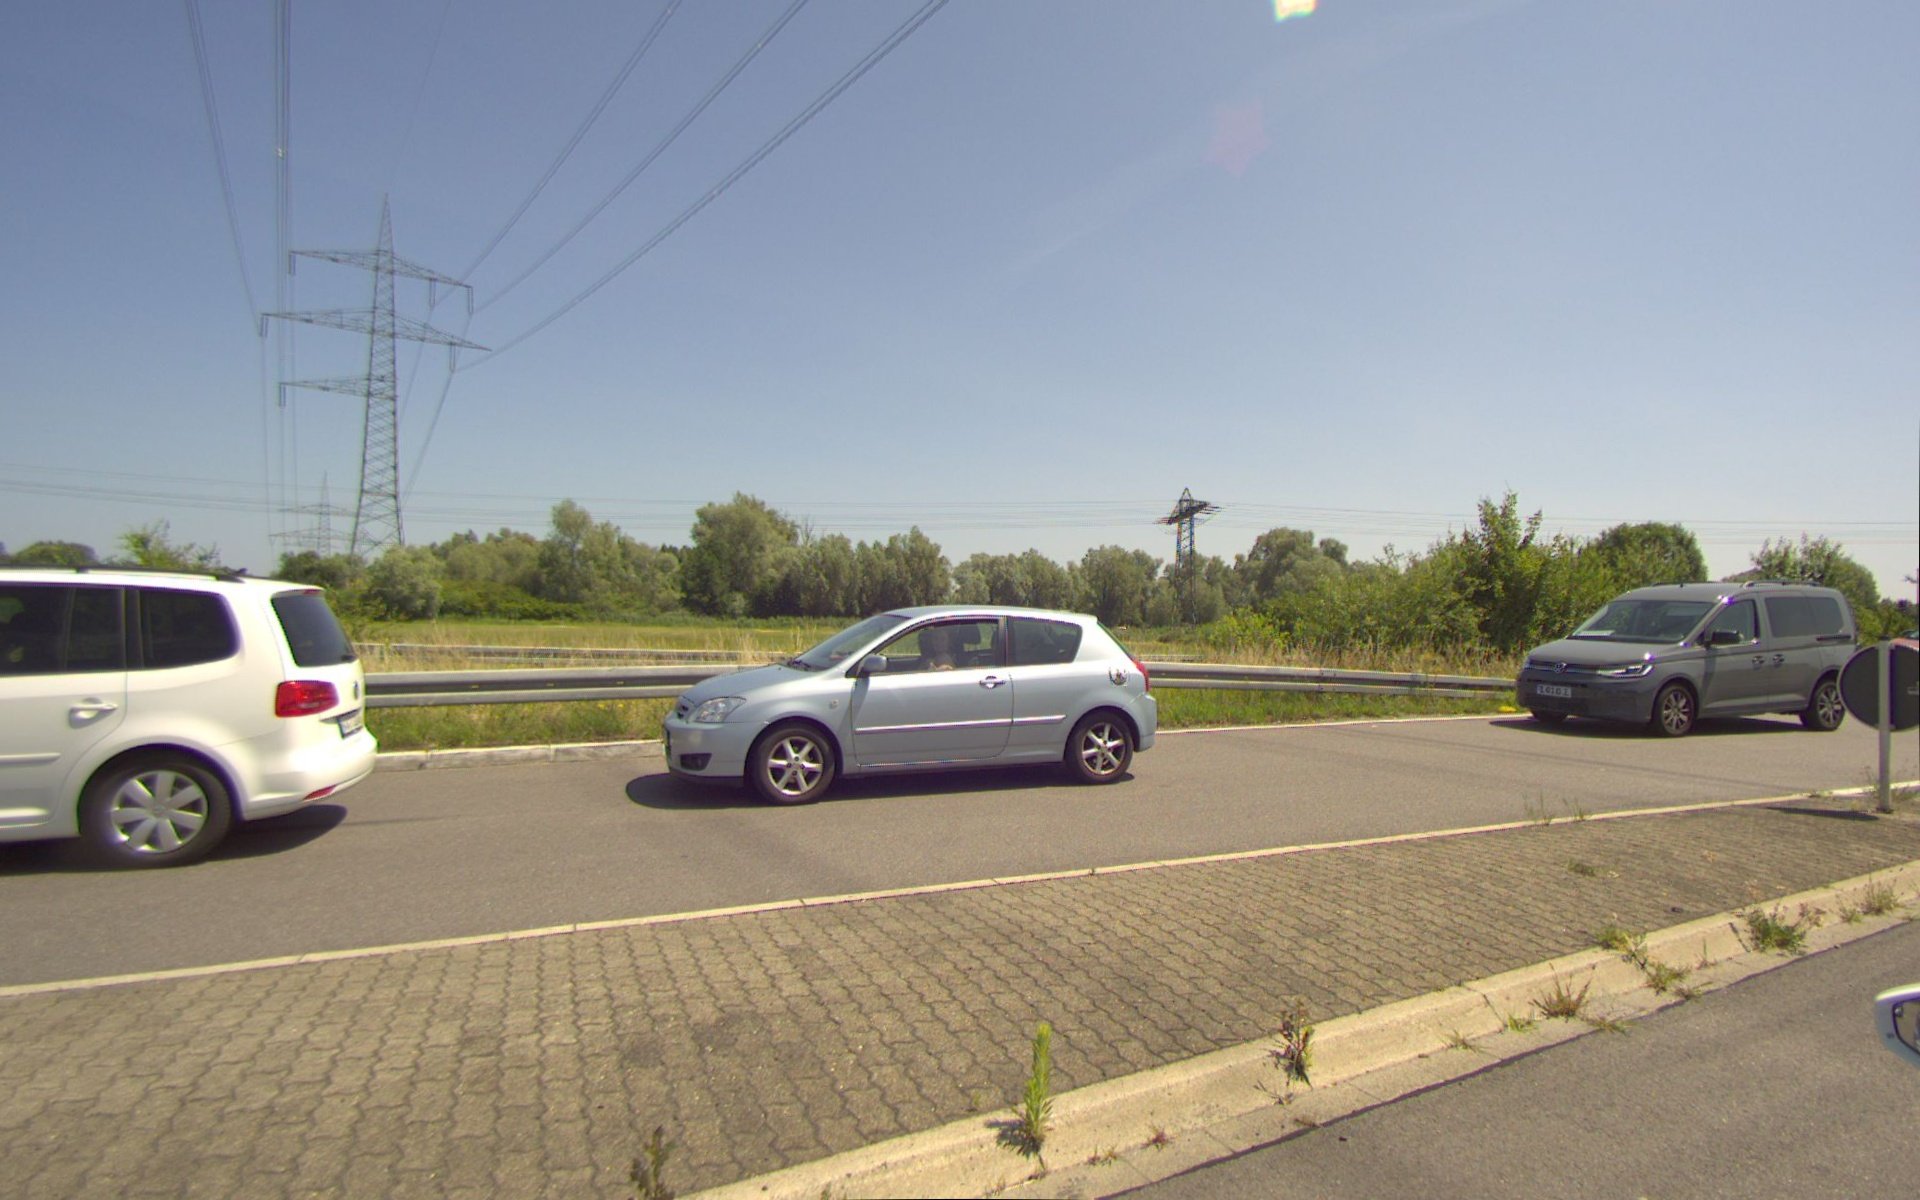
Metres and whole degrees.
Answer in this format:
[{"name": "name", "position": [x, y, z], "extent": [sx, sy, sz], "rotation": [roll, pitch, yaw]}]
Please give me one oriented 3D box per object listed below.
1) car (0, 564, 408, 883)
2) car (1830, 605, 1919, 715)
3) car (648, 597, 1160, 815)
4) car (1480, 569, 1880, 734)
[{"name": "car", "position": [-5.735, 0.611, 5.784], "extent": [4.267, 1.642, 1.768], "rotation": [1, 1, -22]}, {"name": "car", "position": [15.749, 0.878, 15.251], "extent": [4.321, 1.536, 1.798], "rotation": [0, 2, -17]}, {"name": "car", "position": [-0.467, 0.741, 8.330], "extent": [3.949, 1.479, 1.629], "rotation": [1, 0, -22]}, {"name": "car", "position": [9.151, 0.645, 12.840], "extent": [4.367, 1.856, 1.925], "rotation": [2, -1, -17]}]
